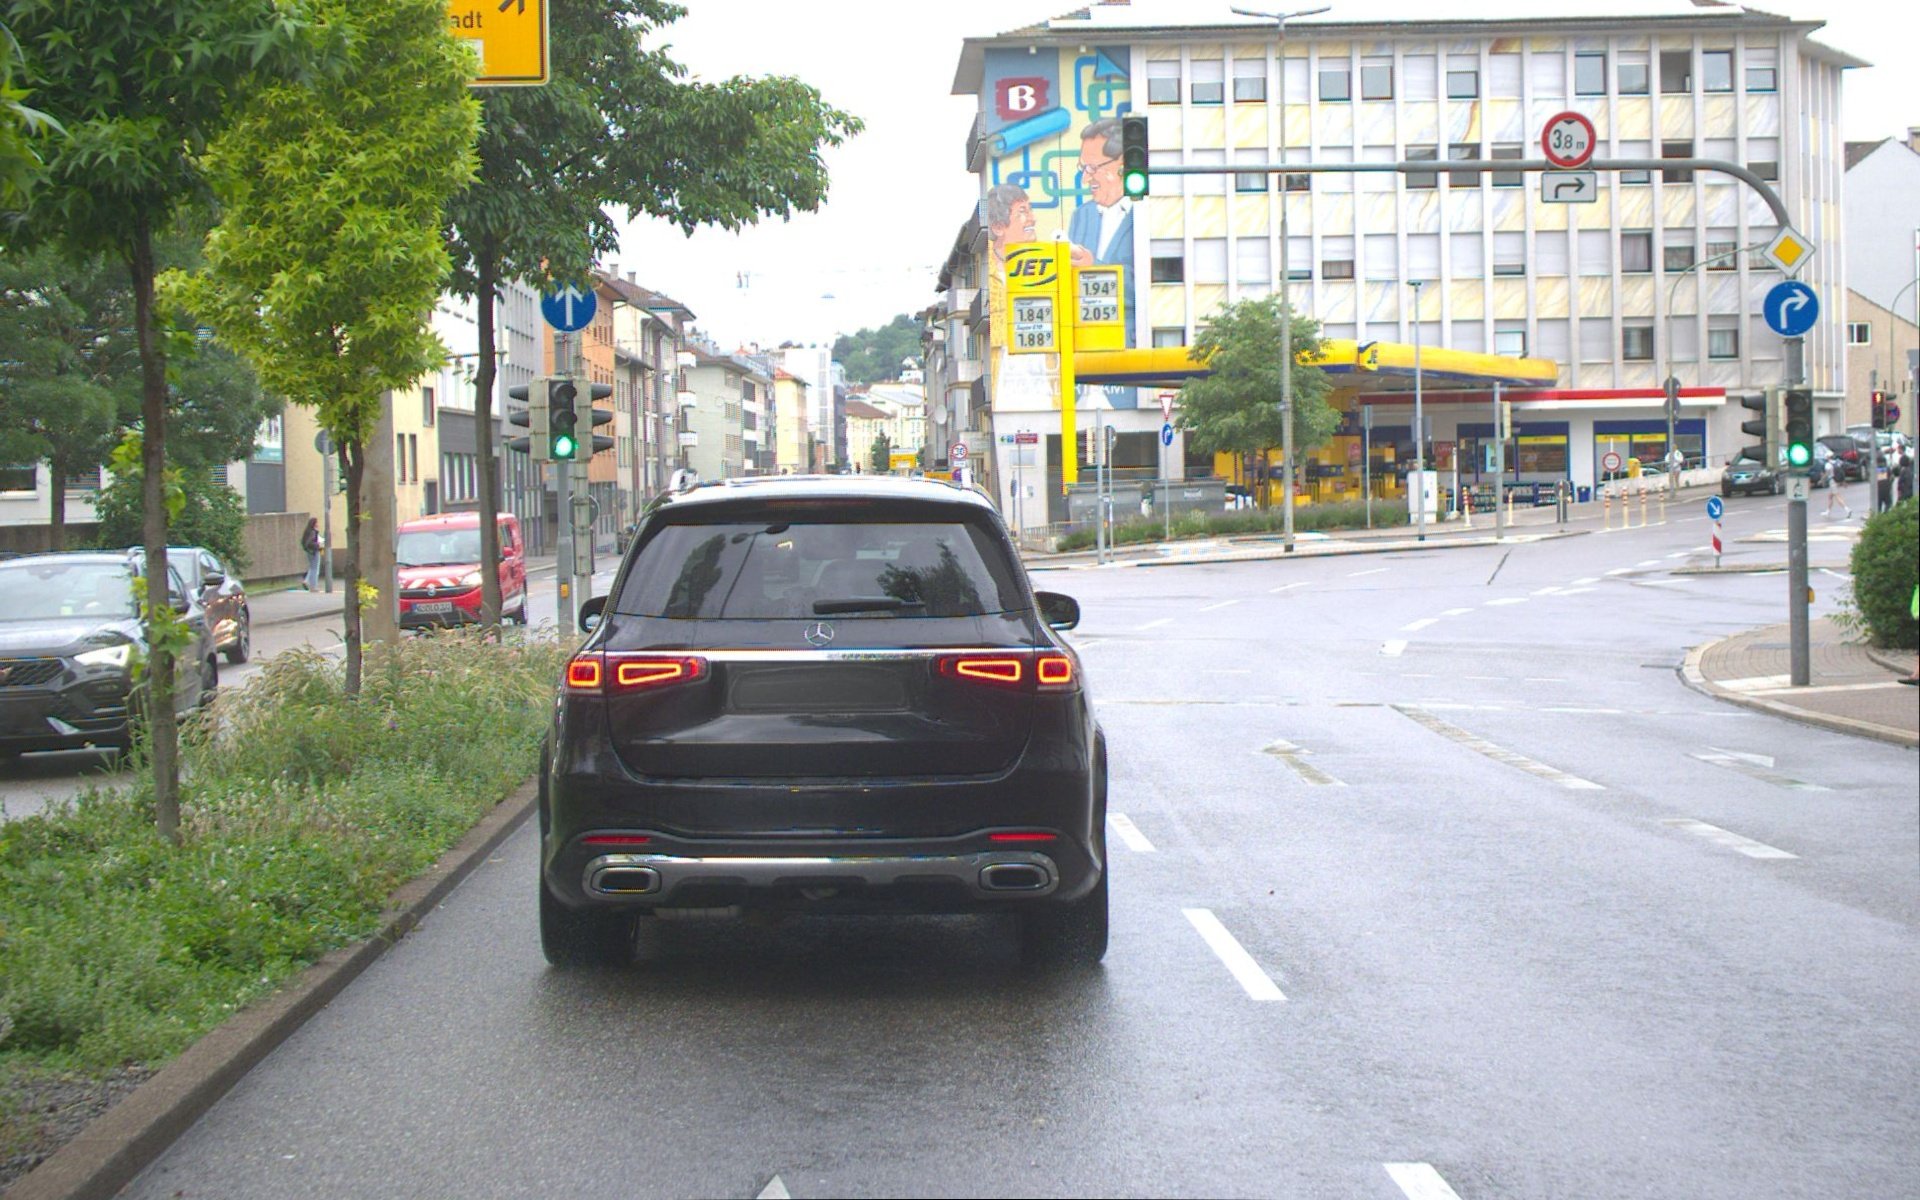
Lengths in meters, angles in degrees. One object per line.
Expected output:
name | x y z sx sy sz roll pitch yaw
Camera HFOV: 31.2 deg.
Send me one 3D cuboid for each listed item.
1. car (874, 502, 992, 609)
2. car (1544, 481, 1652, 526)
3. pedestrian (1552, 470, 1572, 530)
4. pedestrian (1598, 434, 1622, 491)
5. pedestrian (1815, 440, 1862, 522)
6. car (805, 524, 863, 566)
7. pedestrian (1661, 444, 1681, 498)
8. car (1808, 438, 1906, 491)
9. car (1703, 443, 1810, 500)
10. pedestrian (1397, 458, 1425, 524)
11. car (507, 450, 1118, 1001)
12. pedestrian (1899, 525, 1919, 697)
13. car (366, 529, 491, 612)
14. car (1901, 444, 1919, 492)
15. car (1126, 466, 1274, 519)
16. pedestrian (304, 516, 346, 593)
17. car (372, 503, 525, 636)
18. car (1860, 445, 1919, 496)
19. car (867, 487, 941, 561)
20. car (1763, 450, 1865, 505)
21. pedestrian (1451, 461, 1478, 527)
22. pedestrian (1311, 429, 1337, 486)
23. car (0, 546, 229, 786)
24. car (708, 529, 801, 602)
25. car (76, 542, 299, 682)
car | -0.496 -0.763 60.839 1.993 1.794 4.000 1 0 -1
car | 21.693 -3.274 116.855 1.998 1.393 3.991 1 0 38
pedestrian | 14.379 -2.386 82.124 0.396 1.395 0.446 1 0 0
pedestrian | 19.937 -4.223 105.468 0.526 1.721 0.688 0 1 26
pedestrian | 23.133 -3.133 90.529 0.854 2.121 0.948 -2 1 -7
car | -4.892 -2.133 133.839 1.993 1.542 4.189 1 0 1
pedestrian | 22.064 -4.001 106.644 0.484 1.635 0.438 1 0 28
car | 30.263 -4.580 115.929 1.997 1.700 3.993 -1 2 33
car | 24.909 -4.025 107.423 1.997 1.700 3.993 -1 2 33
pedestrian | 11.874 -2.862 90.469 0.526 1.721 0.688 0 1 26
car | -0.520 0.415 13.354 1.993 1.794 4.000 1 0 -1
pedestrian | 9.715 0.111 34.113 0.646 1.704 0.470 0 -1 35
car | -10.517 -0.611 68.235 1.846 1.424 4.435 -3 2 -2
car | 35.990 -4.863 125.593 1.997 1.700 3.993 -1 2 33
car | 6.766 -3.023 97.211 1.732 1.371 3.997 -3 2 -44
pedestrian | -14.491 -1.043 78.465 0.650 1.721 0.627 -1 2 40
car | -7.776 -0.474 52.597 1.792 1.847 4.793 -3 1 -3
car | 33.318 -4.565 121.002 1.997 1.700 3.993 -1 2 33
car | -1.621 -2.141 97.627 1.993 2.007 4.000 1 0 -2
car | 27.755 -3.988 111.709 1.997 1.700 3.993 -1 2 33
pedestrian | 13.080 -2.754 89.161 0.572 1.692 0.631 1 0 0
pedestrian | 11.088 -4.333 104.724 0.527 1.721 0.688 0 1 29
car | -6.786 0.451 26.101 1.732 1.620 4.232 -3 1 -4
car | -4.754 -0.784 80.065 1.993 1.609 4.190 1 0 -1
car | -9.697 0.110 43.493 1.888 1.581 4.537 -3 1 -2
